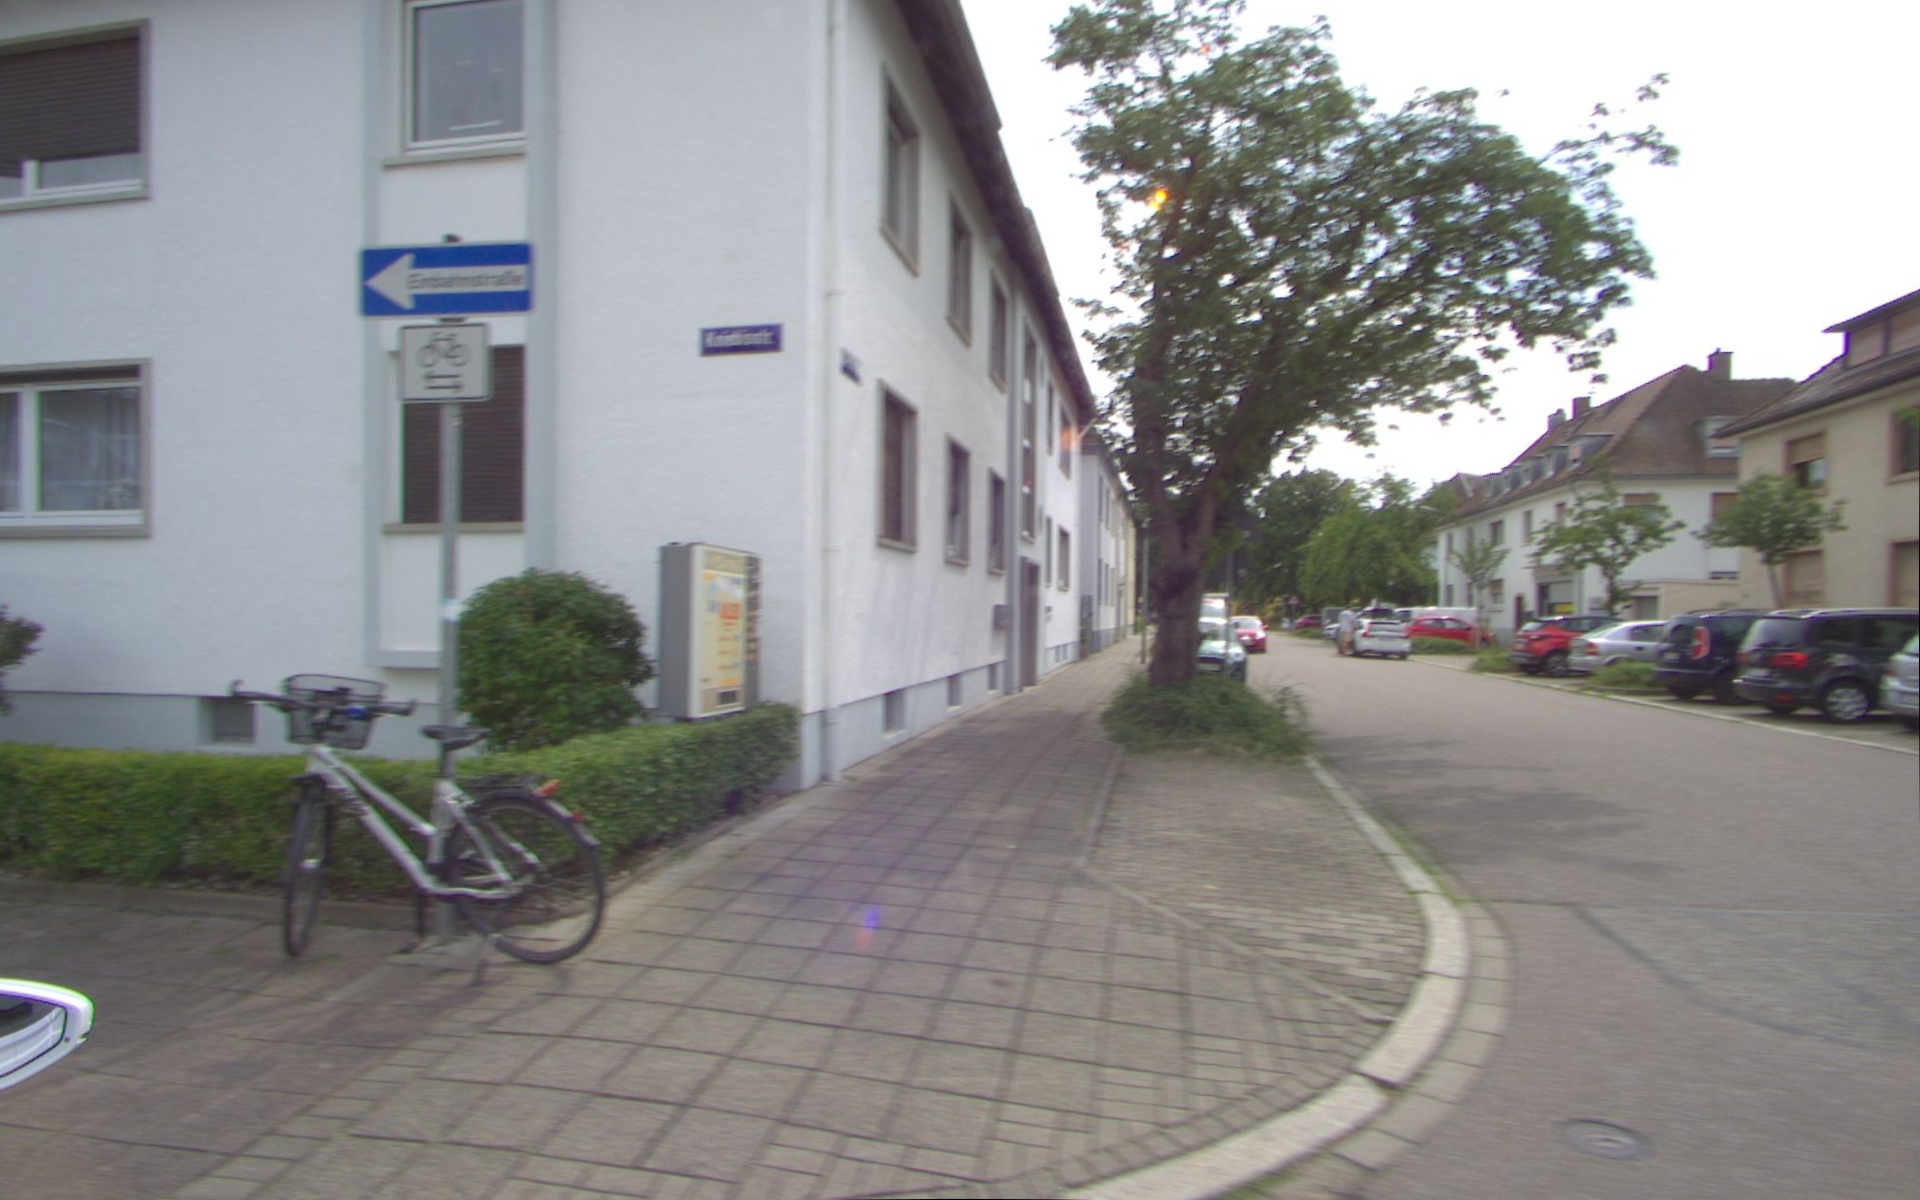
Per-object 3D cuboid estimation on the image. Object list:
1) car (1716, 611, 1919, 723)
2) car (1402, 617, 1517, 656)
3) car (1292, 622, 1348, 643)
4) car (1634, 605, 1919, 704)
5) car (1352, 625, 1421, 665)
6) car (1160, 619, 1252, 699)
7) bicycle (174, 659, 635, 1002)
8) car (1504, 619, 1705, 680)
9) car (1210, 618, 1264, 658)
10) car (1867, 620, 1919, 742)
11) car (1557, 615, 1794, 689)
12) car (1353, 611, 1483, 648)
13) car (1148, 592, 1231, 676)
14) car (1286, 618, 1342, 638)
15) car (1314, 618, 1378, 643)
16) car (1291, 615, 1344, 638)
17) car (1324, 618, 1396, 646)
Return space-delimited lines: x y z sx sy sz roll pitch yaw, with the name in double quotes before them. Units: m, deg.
"car" 13.913 0.965 15.002 3.690 1.584 1.772 -1 -1 13
"car" 20.705 1.516 41.627 3.925 1.538 1.721 -1 -1 12
"car" 25.390 2.285 70.731 3.475 1.444 1.597 -1 -1 13
"car" 14.701 0.954 17.935 3.925 1.639 1.866 -1 -1 13
"car" 15.622 1.625 36.856 1.661 1.371 3.824 -1 -1 13
"car" 5.337 1.209 21.622 1.737 1.574 3.727 -1 -1 15
"bicycle" -2.125 0.846 3.870 1.607 1.194 0.435 -1 0 8
"car" 16.363 1.257 25.628 3.925 1.457 1.721 -1 -1 12
"car" 11.269 1.520 40.909 1.835 1.505 3.998 -1 -1 12
"car" 14.135 0.993 12.400 3.925 1.538 1.721 -1 -1 12
"car" 15.833 1.154 22.368 3.925 1.538 1.721 -1 -1 12
"car" 20.207 1.310 44.376 4.897 1.538 1.768 -1 -1 11
"car" 6.050 0.867 26.704 1.962 2.040 4.518 1 -1 11
"car" 28.719 2.299 81.324 3.944 1.562 1.859 -2 -1 32
"car" 23.653 1.881 61.457 3.475 1.444 1.597 -1 -1 13
"car" 26.435 1.938 74.094 3.475 1.623 1.772 -1 -1 13
"car" 22.109 1.778 55.414 3.475 1.444 1.597 -1 -1 13
